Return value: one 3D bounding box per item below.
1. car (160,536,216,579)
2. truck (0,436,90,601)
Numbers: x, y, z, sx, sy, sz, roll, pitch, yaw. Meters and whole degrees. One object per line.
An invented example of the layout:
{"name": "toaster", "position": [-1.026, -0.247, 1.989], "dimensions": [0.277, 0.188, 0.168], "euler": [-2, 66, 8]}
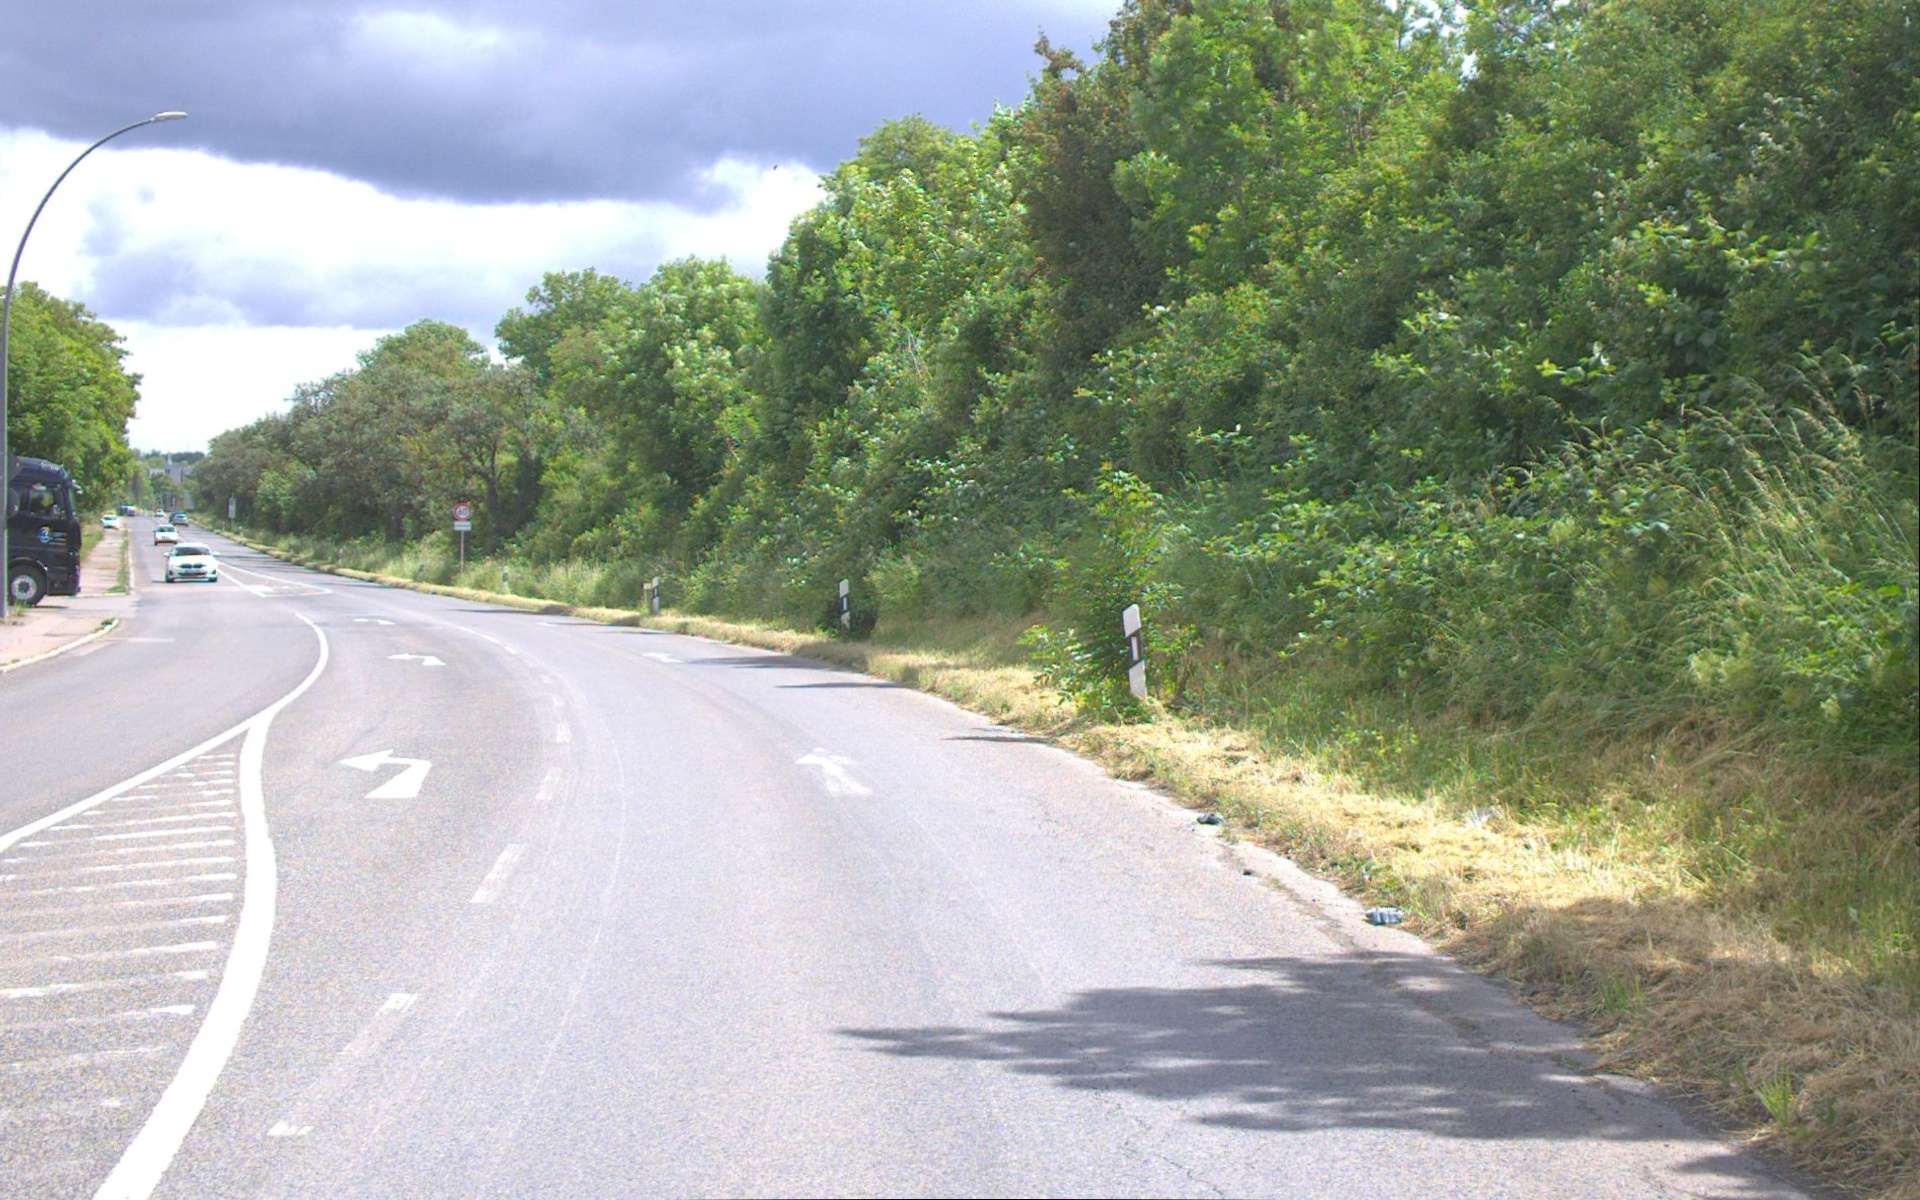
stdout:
{"name": "car", "position": [-28.941, -1.605, 128.786], "dimensions": [1.993, 1.532, 4.001], "euler": [1, 1, -13]}
{"name": "truck", "position": [-25.159, -2.020, 86.025], "dimensions": [6.117, 4.079, 2.826], "euler": [-2, 1, -24]}
